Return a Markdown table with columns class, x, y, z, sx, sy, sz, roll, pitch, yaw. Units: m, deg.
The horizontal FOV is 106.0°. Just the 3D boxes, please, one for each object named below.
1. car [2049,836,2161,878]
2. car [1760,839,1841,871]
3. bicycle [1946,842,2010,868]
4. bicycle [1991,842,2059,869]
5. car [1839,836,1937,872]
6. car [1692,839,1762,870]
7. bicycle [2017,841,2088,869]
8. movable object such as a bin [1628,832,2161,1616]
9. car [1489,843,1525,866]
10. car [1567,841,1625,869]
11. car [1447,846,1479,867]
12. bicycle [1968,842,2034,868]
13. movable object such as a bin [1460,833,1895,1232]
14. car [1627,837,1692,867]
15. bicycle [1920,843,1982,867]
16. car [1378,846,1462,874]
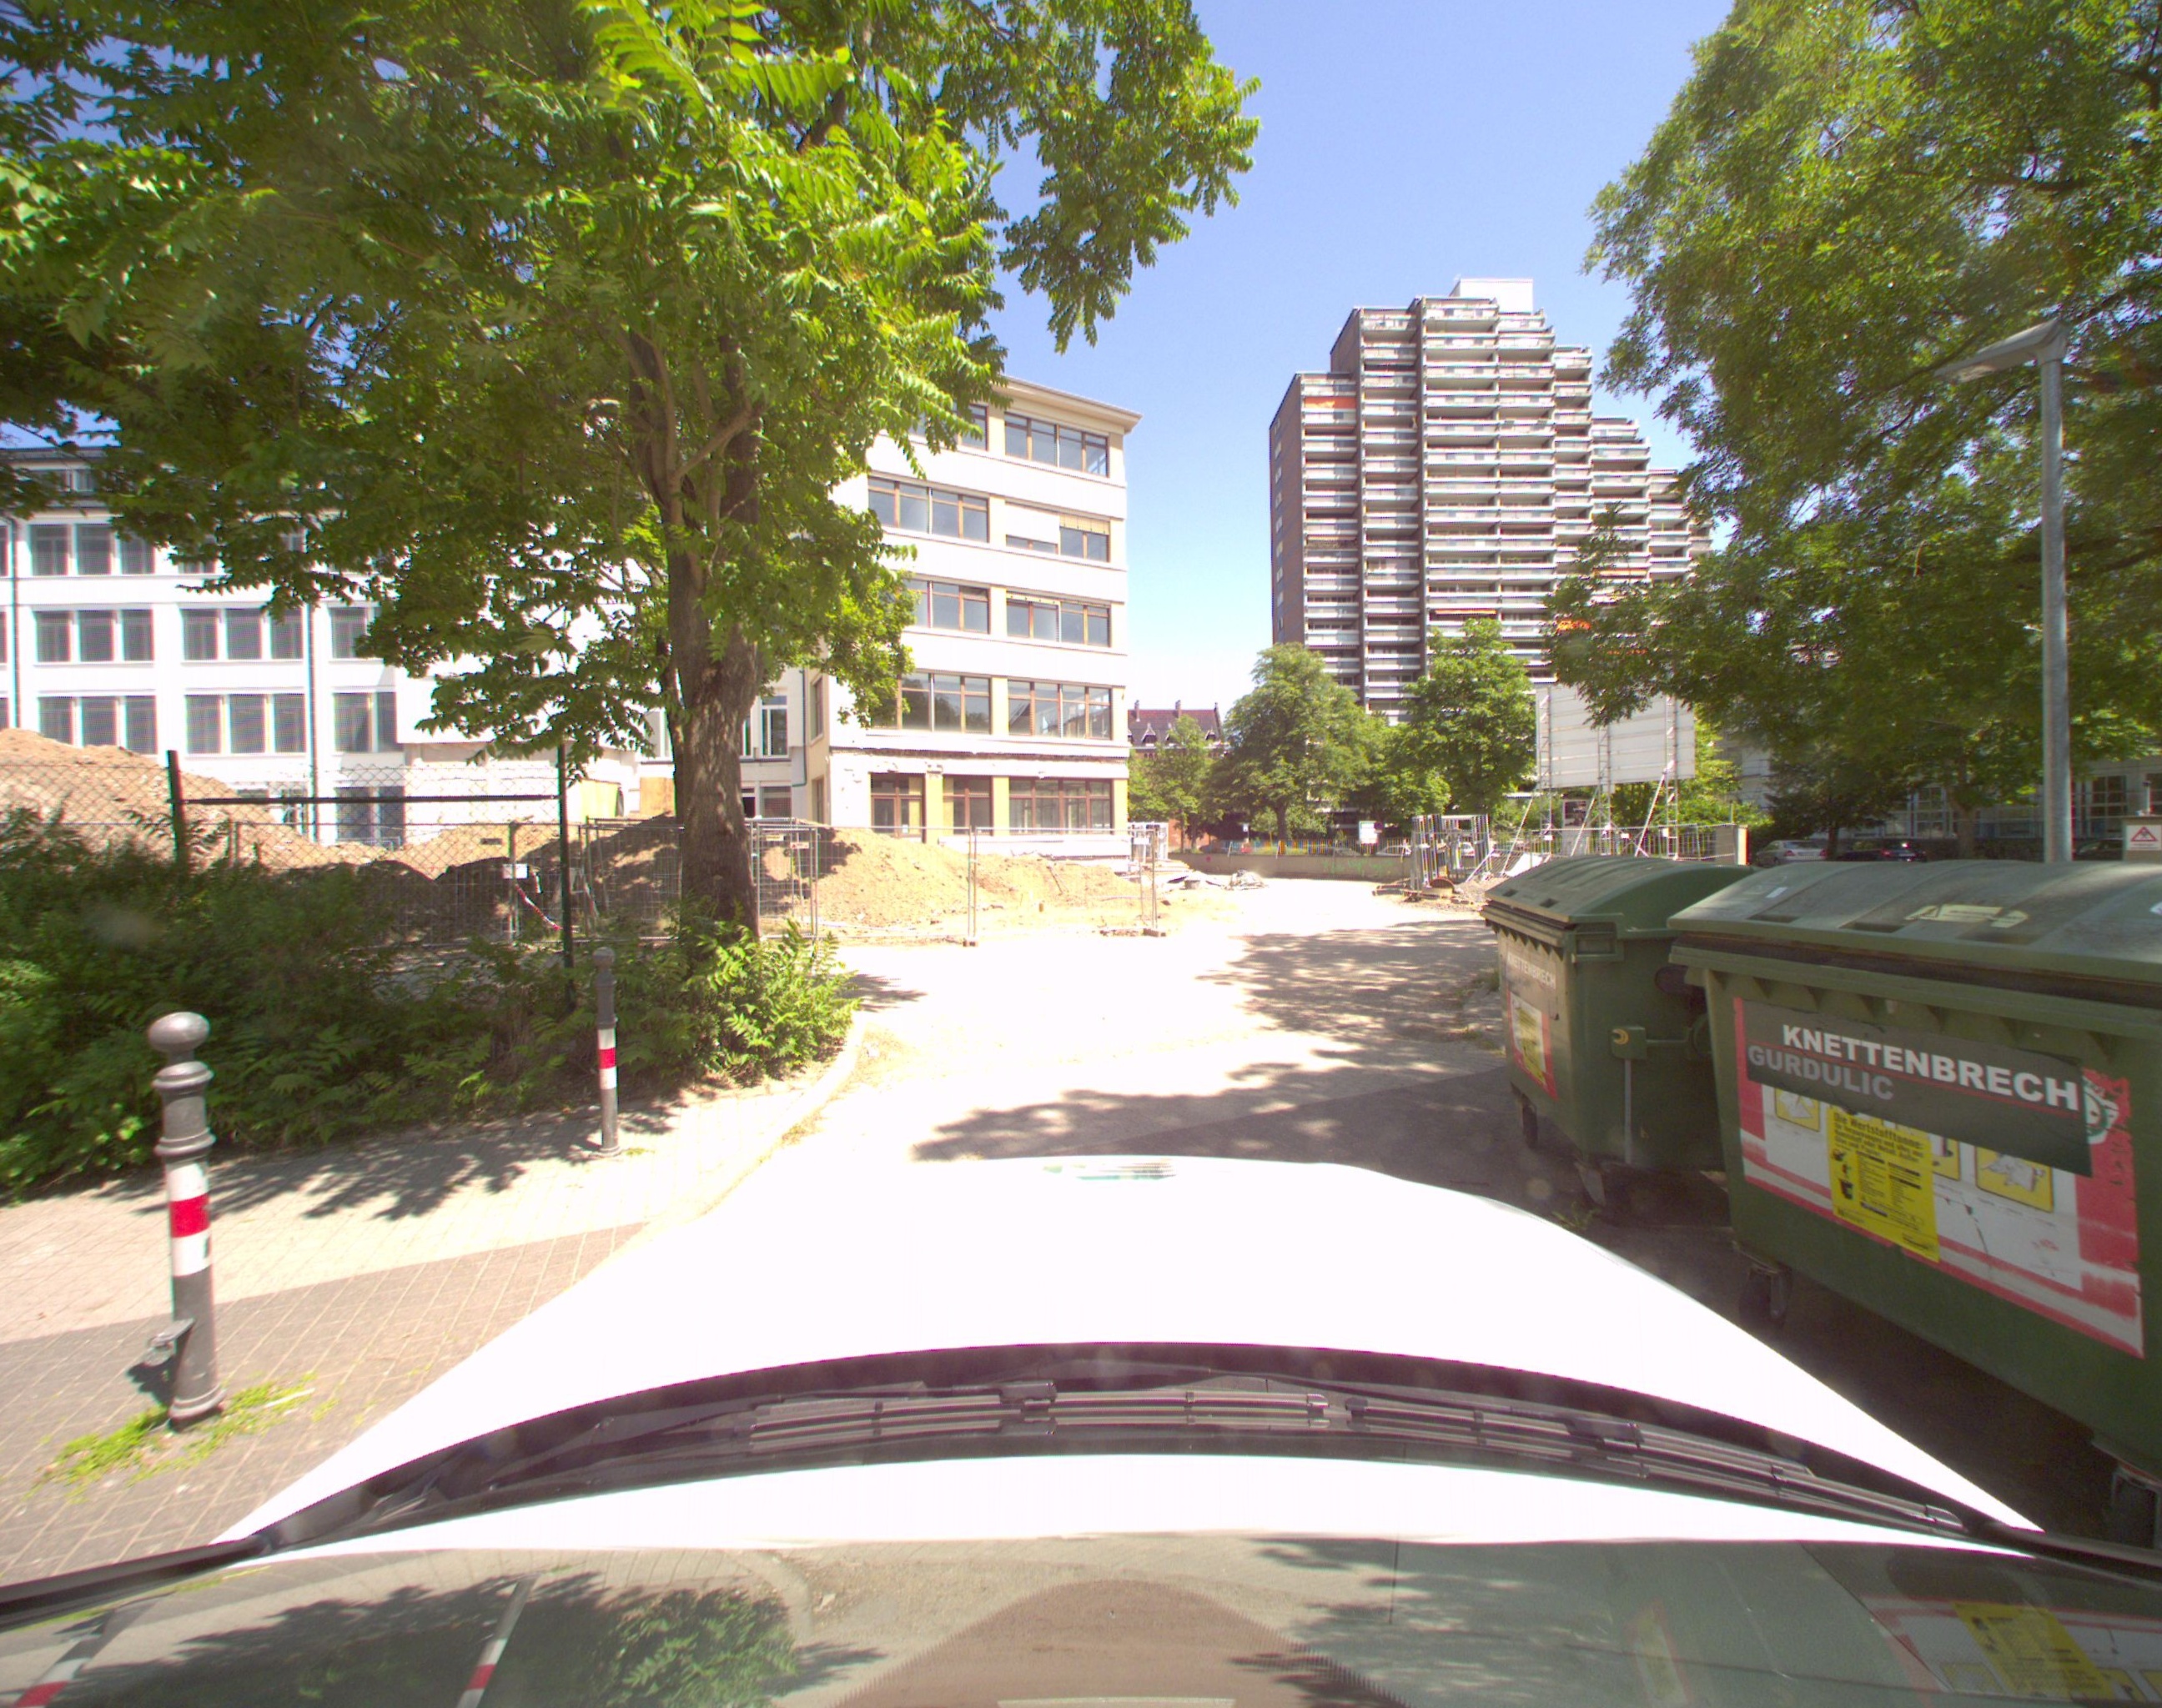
| class | x | y | z | sx | sy | sz | roll | pitch | yaw |
| --- | --- | --- | --- | --- | --- | --- | --- | --- | --- |
| car | 38.615 | 0.091 | 30.222 | 1.627 | 1.463 | 3.692 | -1 | 0 | 15 |
| car | 34.044 | 0.031 | 38.656 | 1.619 | 1.463 | 3.696 | -1 | 0 | 19 |
| bicycle | 43.124 | 0.046 | 39.167 | 2.372 | 1.157 | 0.782 | -1 | 0 | -5 |
| bicycle | 43.172 | 0.060 | 37.264 | 2.372 | 1.157 | 0.782 | -1 | 0 | -5 |
| car | 35.422 | -0.009 | 35.855 | 1.619 | 1.463 | 3.696 | -1 | 0 | 19 |
| car | 32.423 | 0.025 | 40.998 | 1.619 | 1.463 | 3.696 | -1 | 0 | 19 |
| bicycle | 43.290 | 0.042 | 36.305 | 2.419 | 1.188 | 0.782 | -1 | 0 | -5 |
| movable object such as a bin | 2.556 | 0.693 | 2.242 | 1.177 | 1.470 | 1.309 | -1 | -1 | -5 |
| car | 26.980 | 0.017 | 51.668 | 1.619 | 1.387 | 3.697 | -1 | 0 | 21 |
| car | 28.058 | 0.040 | 44.476 | 1.621 | 1.463 | 3.693 | -1 | 0 | 15 |
| car | 25.673 | 0.143 | 54.783 | 1.619 | 1.387 | 3.697 | -1 | 0 | 21 |
| bicycle | 43.121 | 0.044 | 38.168 | 2.372 | 1.157 | 0.782 | -1 | 0 | -5 |
| movable object such as a bin | 2.563 | 0.667 | 3.782 | 1.171 | 1.470 | 1.337 | -1 | -1 | 12 |
| car | 30.545 | -0.103 | 43.104 | 1.621 | 1.463 | 3.693 | -1 | 0 | 15 |
| bicycle | 42.956 | 0.054 | 40.234 | 2.372 | 1.157 | 0.782 | -1 | 0 | -5 |
| car | 18.512 | 0.319 | 44.650 | 1.769 | 1.464 | 4.108 | -1 | 0 | -27 |
